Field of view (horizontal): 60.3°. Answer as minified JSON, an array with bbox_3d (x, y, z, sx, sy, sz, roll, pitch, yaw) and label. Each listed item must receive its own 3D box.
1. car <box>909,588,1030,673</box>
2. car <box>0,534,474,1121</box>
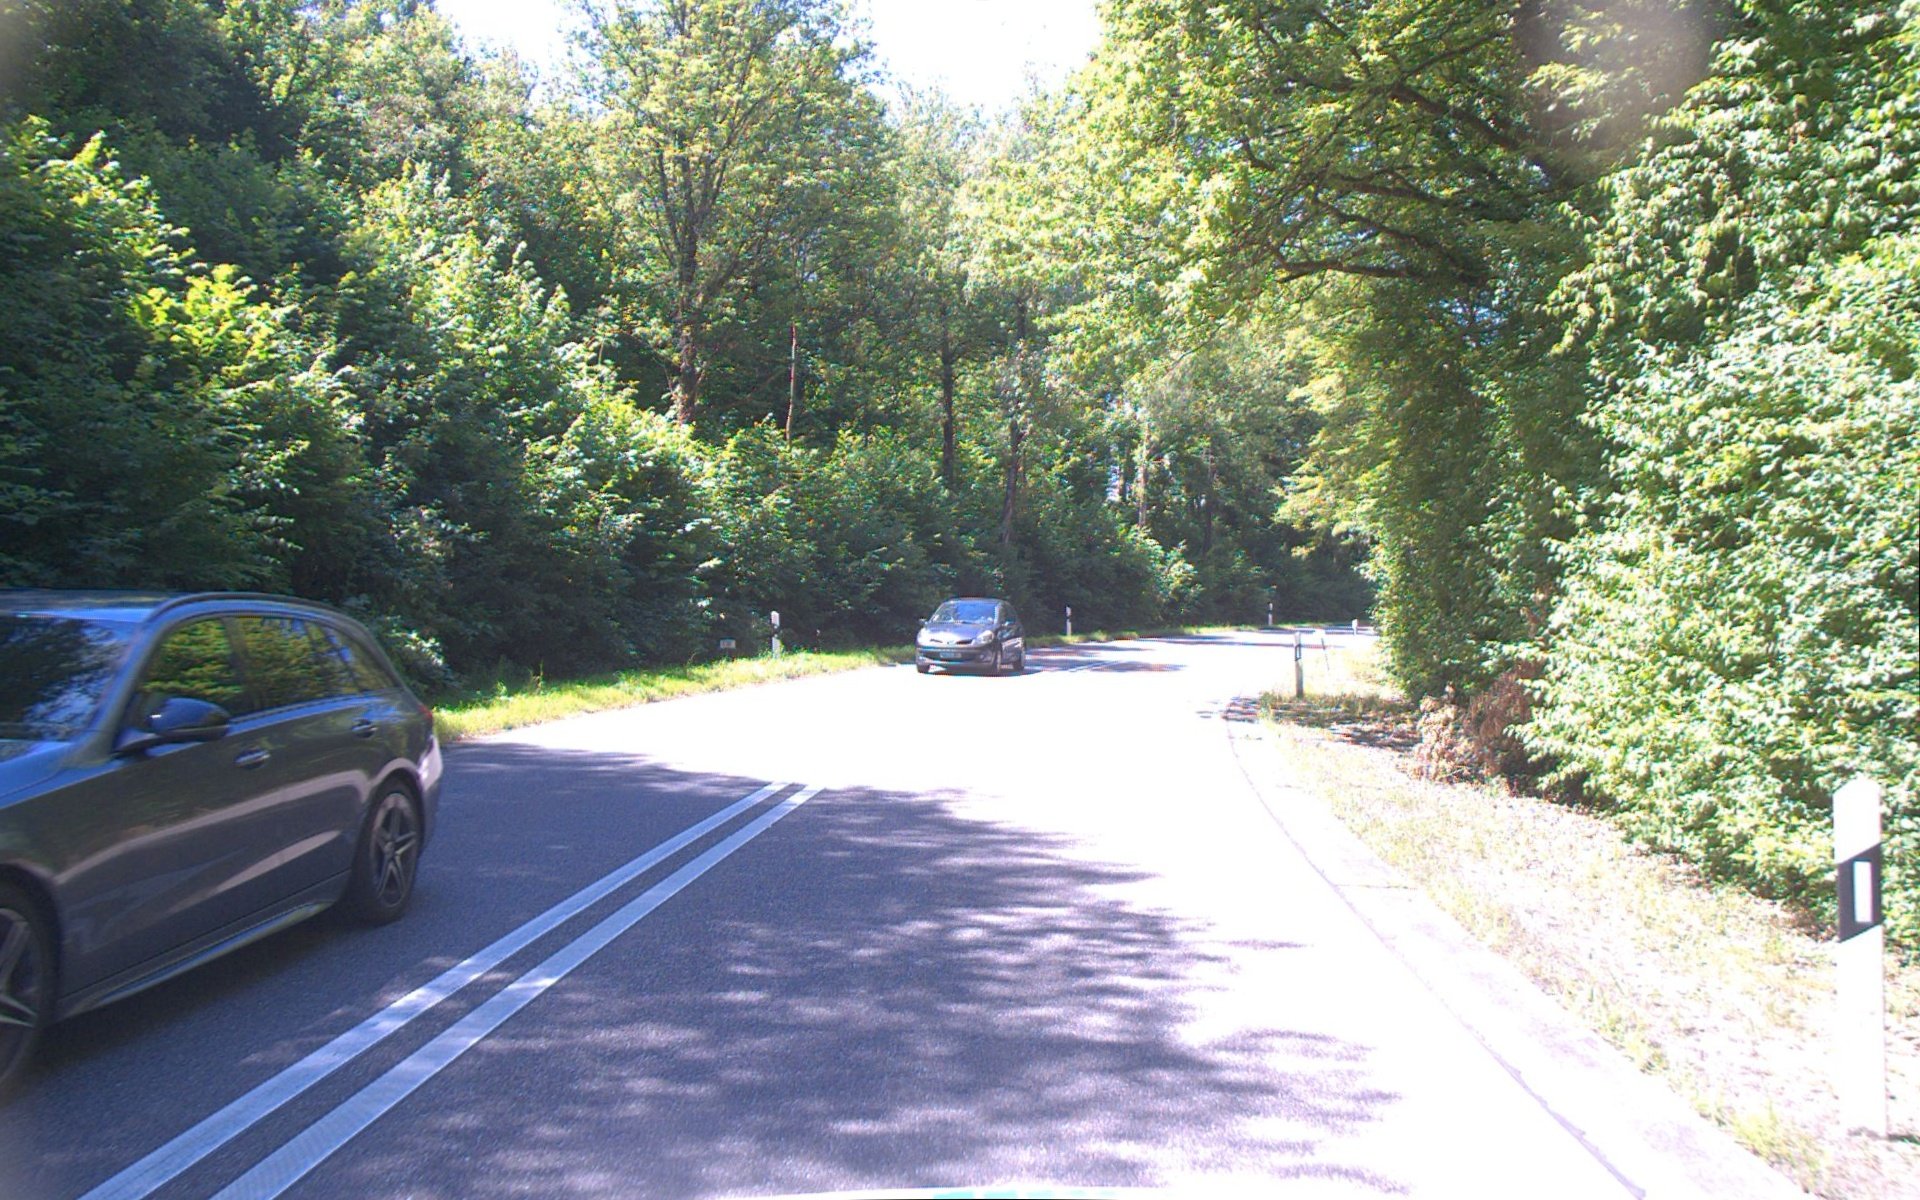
[{"bbox_3d":[0.257,0.609,33.470,1.641,1.601,3.898,-1,-1,12],"label":"car"},{"bbox_3d":[-3.390,0.624,6.031,1.719,1.601,4.369,0,0,3],"label":"car"}]
